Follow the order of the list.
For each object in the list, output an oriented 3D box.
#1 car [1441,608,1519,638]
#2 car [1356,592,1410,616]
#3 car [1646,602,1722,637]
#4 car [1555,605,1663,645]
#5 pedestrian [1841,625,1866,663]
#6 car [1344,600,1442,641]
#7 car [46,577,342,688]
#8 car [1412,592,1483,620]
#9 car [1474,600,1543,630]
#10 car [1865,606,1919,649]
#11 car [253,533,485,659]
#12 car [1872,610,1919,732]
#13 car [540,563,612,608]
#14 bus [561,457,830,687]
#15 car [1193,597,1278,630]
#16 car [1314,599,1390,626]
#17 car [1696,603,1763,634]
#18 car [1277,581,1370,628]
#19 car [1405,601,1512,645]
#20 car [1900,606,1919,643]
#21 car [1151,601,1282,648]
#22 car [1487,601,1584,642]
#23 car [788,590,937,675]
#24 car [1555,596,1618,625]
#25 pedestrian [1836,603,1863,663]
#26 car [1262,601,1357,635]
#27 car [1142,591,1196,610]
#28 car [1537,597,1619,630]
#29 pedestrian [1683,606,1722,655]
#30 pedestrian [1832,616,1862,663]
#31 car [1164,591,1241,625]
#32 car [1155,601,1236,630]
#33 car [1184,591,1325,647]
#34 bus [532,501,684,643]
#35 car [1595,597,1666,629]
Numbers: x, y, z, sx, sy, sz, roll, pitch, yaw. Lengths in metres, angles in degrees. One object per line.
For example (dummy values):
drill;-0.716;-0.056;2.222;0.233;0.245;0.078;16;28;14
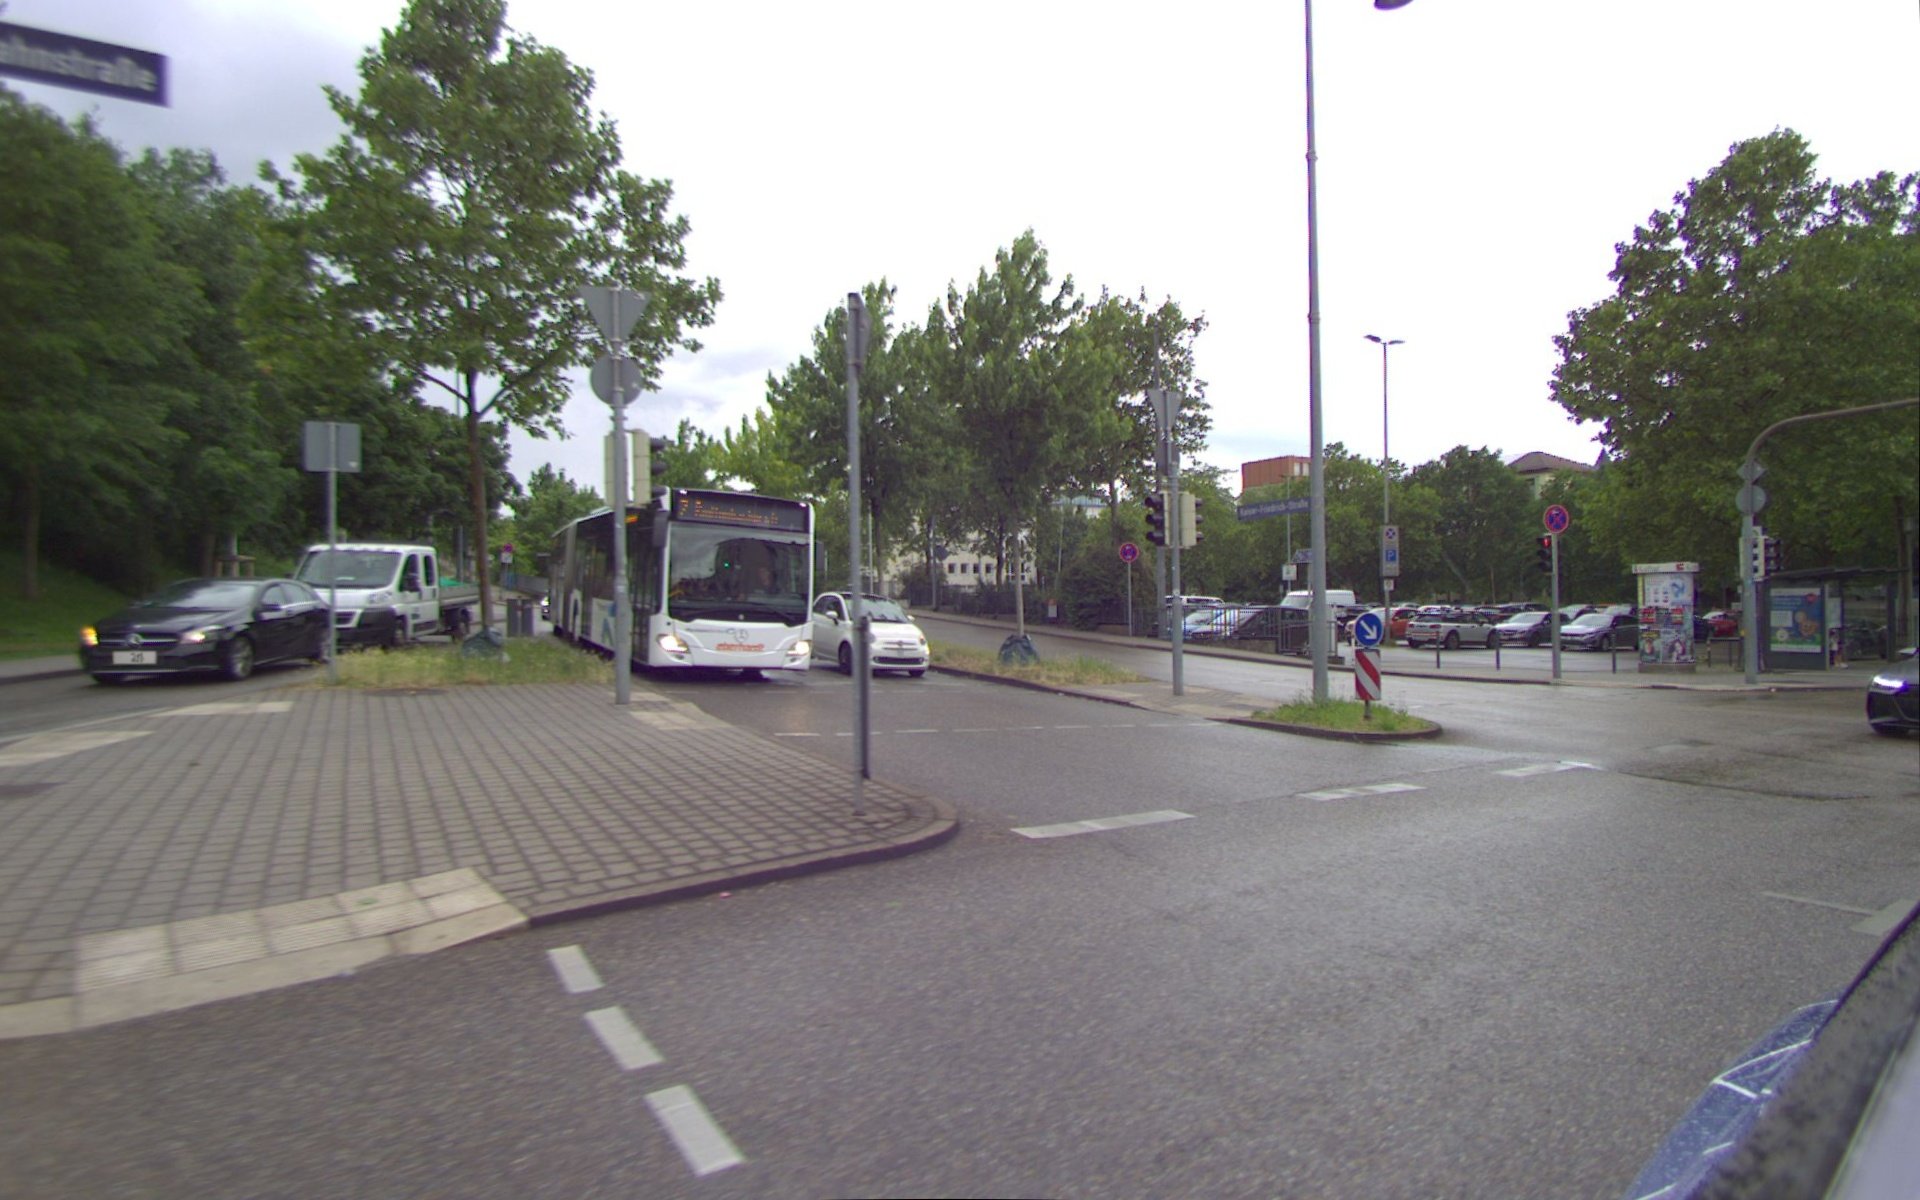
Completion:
car;22.892;0.975;44.558;3.288;1.252;1.534;0;0;-30
car;28.717;0.269;68.666;3.538;1.612;1.534;0;0;-29
car;33.422;0.896;46.712;3.290;1.440;1.642;-2;0;-32
car;25.159;0.952;39.213;4.356;1.458;1.740;0;0;-31
pedestrian;25.246;1.234;28.598;0.363;1.048;0.402;1;-1;-27
car;18.081;0.840;42.219;3.920;1.611;1.764;0;0;-30
car;-10.905;0.357;14.830;1.758;1.391;4.104;0;1;-10
car;30.653;0.369;63.619;4.540;1.691;1.974;0;0;-33
car;28.837;0.783;53.189;3.560;1.523;1.534;0;0;-30
car;35.587;0.917;36.195;1.827;1.504;4.416;-1;-2;-32
car;-12.192;-0.149;21.542;2.209;2.262;6.354;0;1;-10
car;13.548;0.862;12.822;4.276;1.422;1.899;-1;1;-33
car;-15.306;-0.553;40.587;1.958;1.673;4.884;0;0;-12
bus;-5.503;-0.446;19.223;2.650;3.257;9.672;2;0;-28
car;13.718;0.662;50.401;3.917;1.586;1.766;1;0;-26
car;19.044;0.621;49.110;3.560;1.252;1.534;0;0;-30
car;37.961;0.892;49.886;3.763;1.445;1.533;0;0;-35
car;18.932;0.247;52.666;4.915;2.349;1.974;0;0;-33
car;19.506;0.870;39.574;4.093;1.611;1.764;0;0;-30
car;38.963;0.841;38.158;1.824;1.423;4.758;-2;-3;-26
car;8.647;0.777;34.054;4.177;1.458;1.859;0;0;-30
car;23.766;0.863;41.766;3.920;1.611;1.764;0;0;-30
car;-1.962;0.588;19.436;1.558;1.470;3.573;1;-1;-29
car;35.011;0.575;56.553;3.560;1.578;1.534;0;0;-30
pedestrian;25.503;0.934;29.017;0.539;1.717;0.547;-1;-1;40
car;15.667;0.799;45.389;3.917;1.467;1.766;0;0;-26
car;17.366;0.066;84.098;4.421;1.442;1.641;-2;-1;-32
car;31.178;0.674;51.043;3.969;1.584;1.621;0;0;-26
pedestrian;25.395;1.029;34.637;0.843;1.653;0.768;0;-1;-28
pedestrian;24.911;1.098;28.415;0.393;1.287;0.501;1;-1;-27
car;13.993;0.452;58.341;4.278;1.853;1.836;0;0;-32
car;12.206;0.781;52.405;3.917;1.463;1.664;0;0;-26
car;9.079;0.542;31.133;4.177;1.633;1.807;0;0;-30
bus;-9.721;-0.594;27.277;2.633;3.221;8.571;1;-1;-27
car;35.811;0.692;54.038;3.536;1.612;1.535;1;0;-26
